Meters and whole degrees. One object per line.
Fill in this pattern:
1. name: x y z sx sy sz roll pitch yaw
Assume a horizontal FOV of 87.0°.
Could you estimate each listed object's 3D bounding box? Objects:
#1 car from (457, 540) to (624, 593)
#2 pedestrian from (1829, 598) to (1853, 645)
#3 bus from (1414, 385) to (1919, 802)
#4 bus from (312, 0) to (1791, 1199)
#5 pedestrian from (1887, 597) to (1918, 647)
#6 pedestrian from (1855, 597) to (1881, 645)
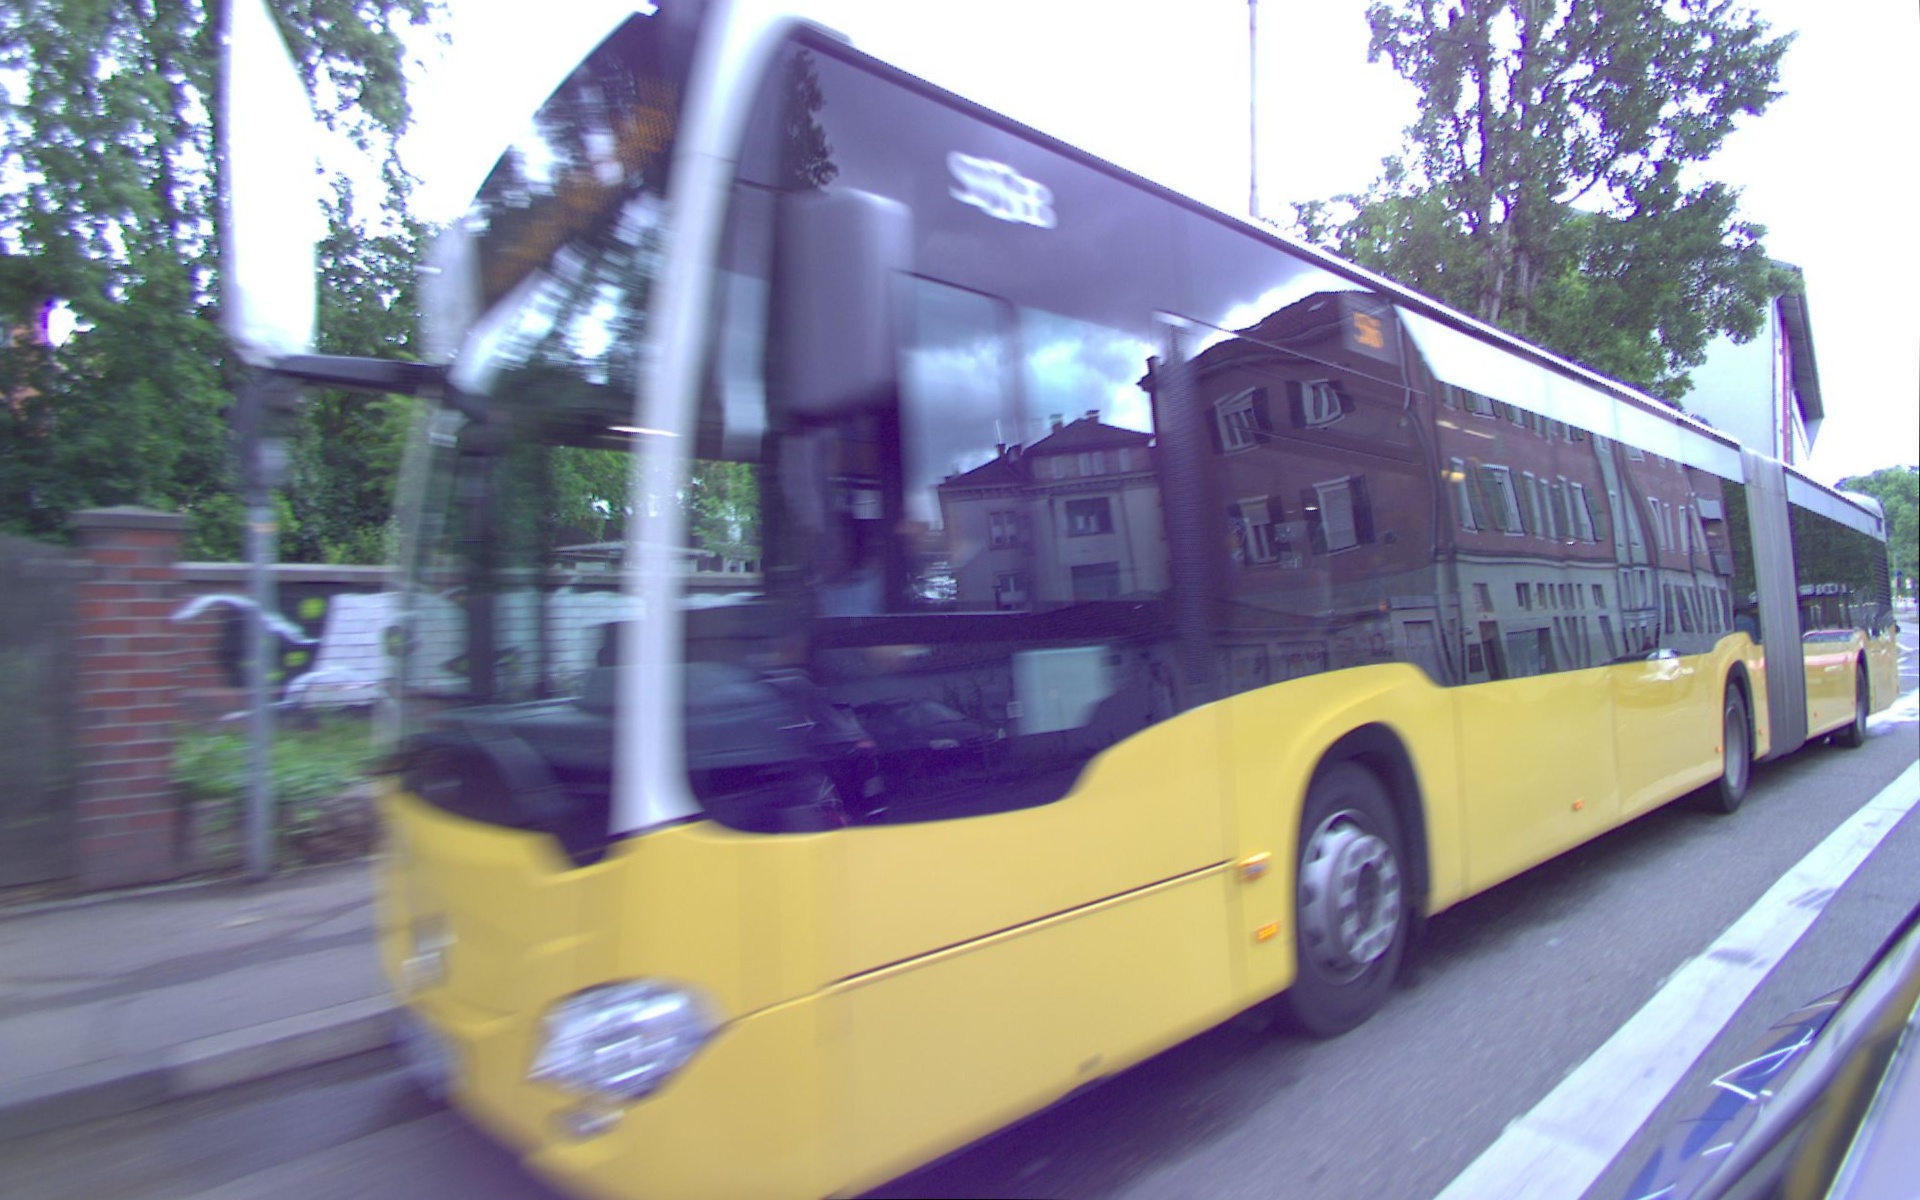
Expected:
1. car: -13.936 -1.087 33.563 5.502 1.609 1.983 0 1 26
2. pedestrian: 33.765 0.830 38.795 0.597 1.779 0.544 3 -1 -35
3. bus: 9.012 0.056 11.949 9.864 3.177 2.666 1 -4 -41
4. bus: 1.900 -0.060 5.689 9.056 3.180 2.675 1 -4 -41
5. pedestrian: 34.914 0.824 37.500 0.803 1.817 0.928 1 -1 43
6. pedestrian: 34.261 0.798 38.178 0.686 1.779 0.864 1 -1 43
